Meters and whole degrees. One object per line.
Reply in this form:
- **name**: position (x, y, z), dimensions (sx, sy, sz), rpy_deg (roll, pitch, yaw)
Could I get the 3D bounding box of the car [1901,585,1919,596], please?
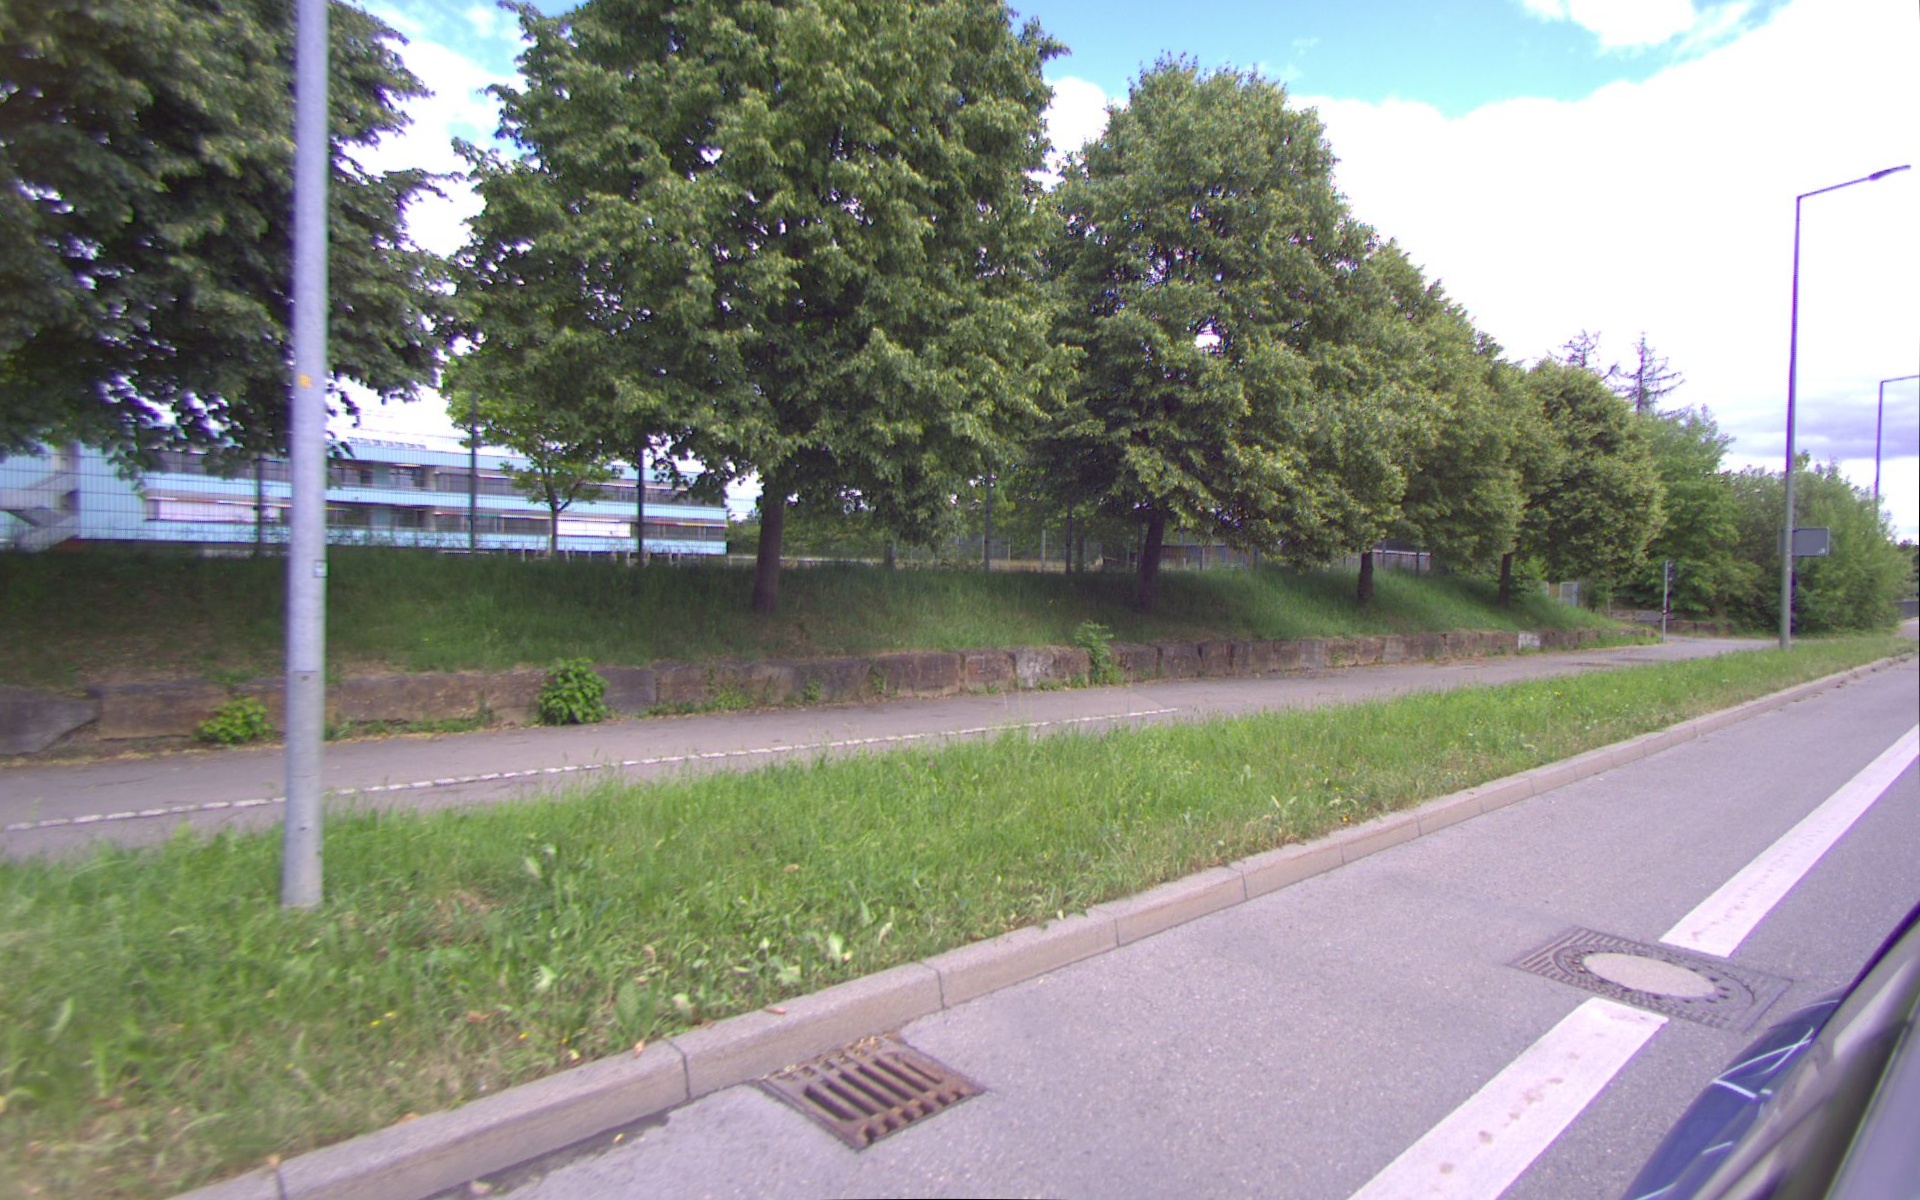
- **car**: position (131.326, -1.315, 139.602), dimensions (1.727, 1.459, 4.311), rpy_deg (0, 1, 37)
